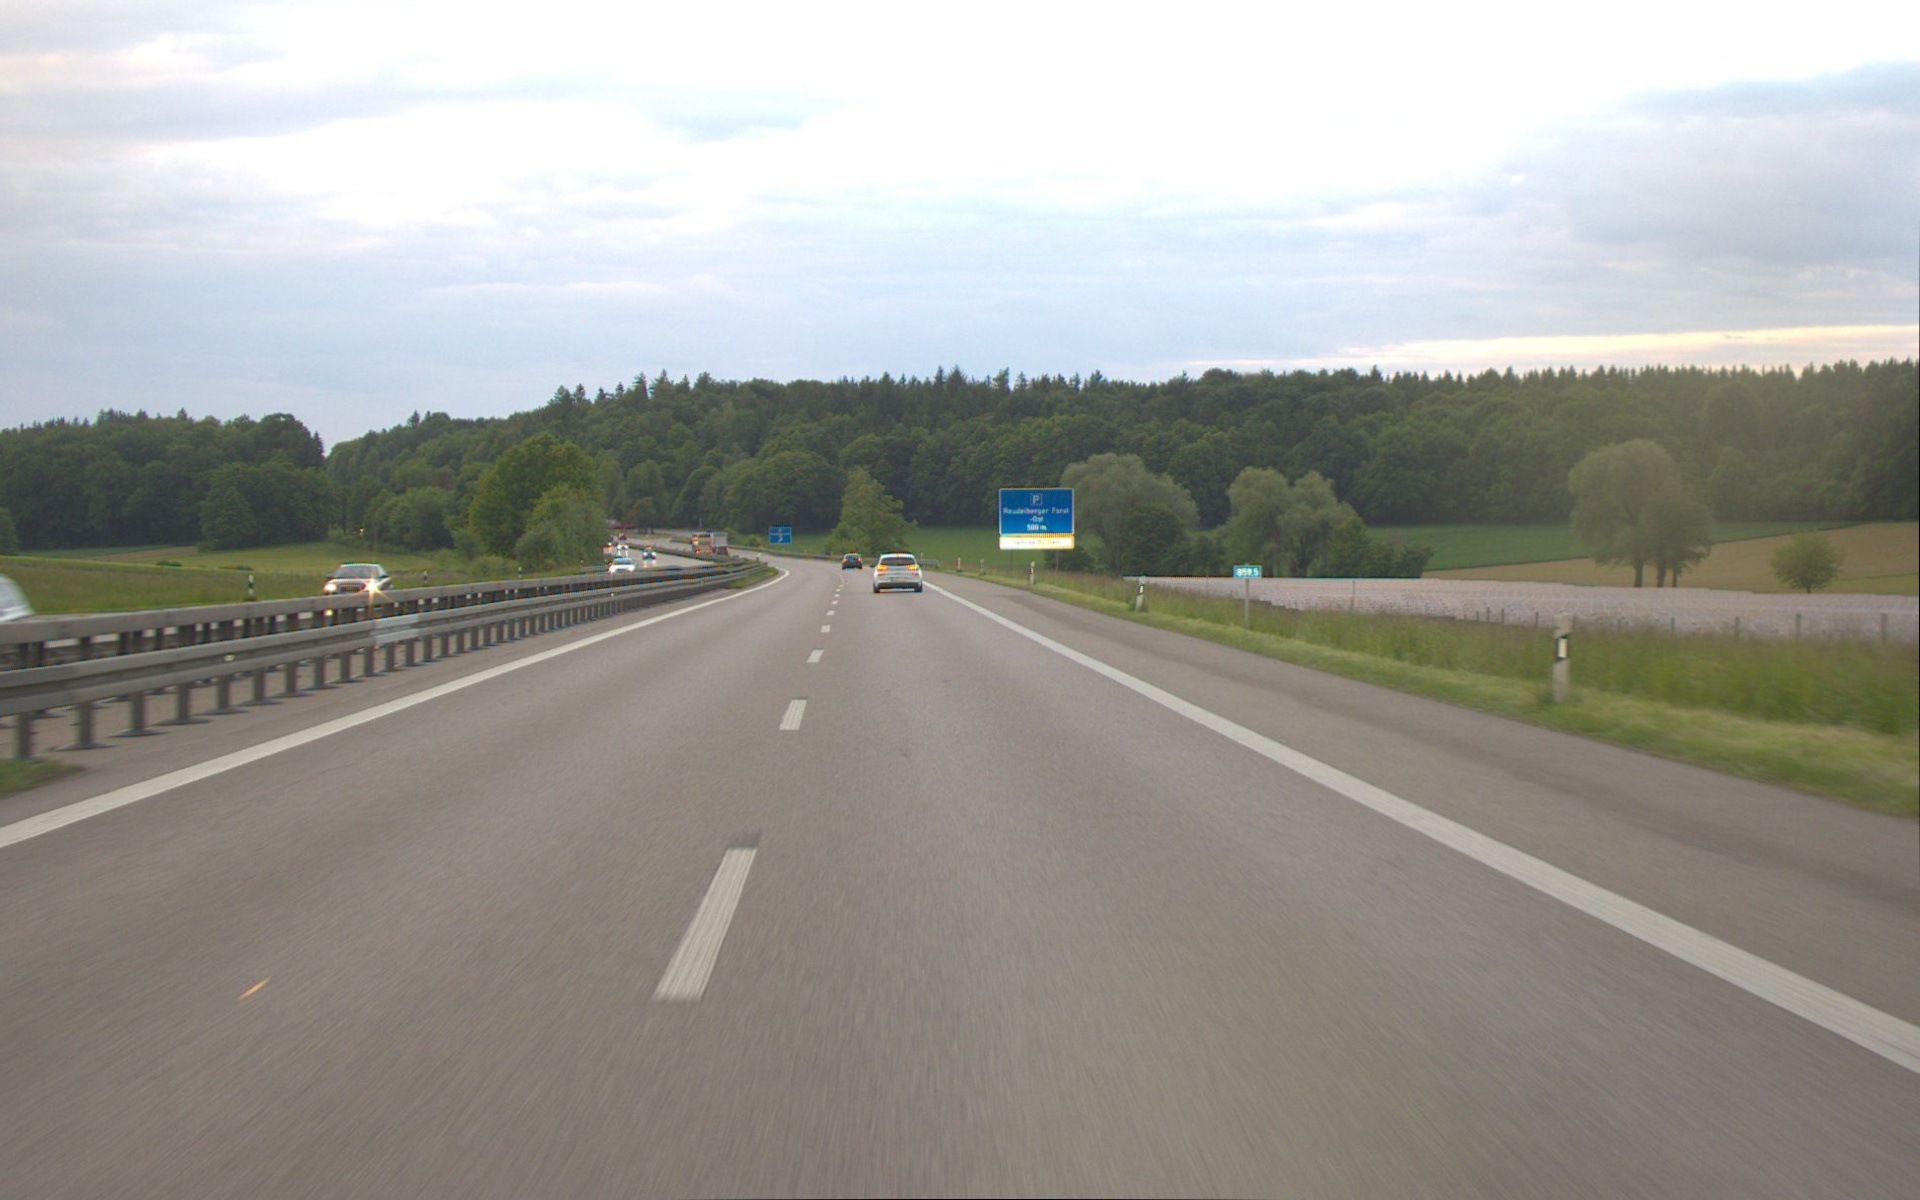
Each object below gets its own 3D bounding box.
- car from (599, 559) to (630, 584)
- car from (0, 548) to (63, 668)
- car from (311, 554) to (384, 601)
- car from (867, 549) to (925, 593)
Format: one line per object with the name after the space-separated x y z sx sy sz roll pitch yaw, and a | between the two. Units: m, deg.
-24.569 -2.050 244.504 1.790 1.693 4.590 1 1 -2 | car
-12.758 0.086 43.088 1.738 1.451 5.121 1 1 -1 | car
-19.353 -0.712 108.779 1.673 1.356 4.011 3 1 -2 | car
-2.394 -1.095 128.469 1.951 1.526 4.081 1 1 -4 | car
